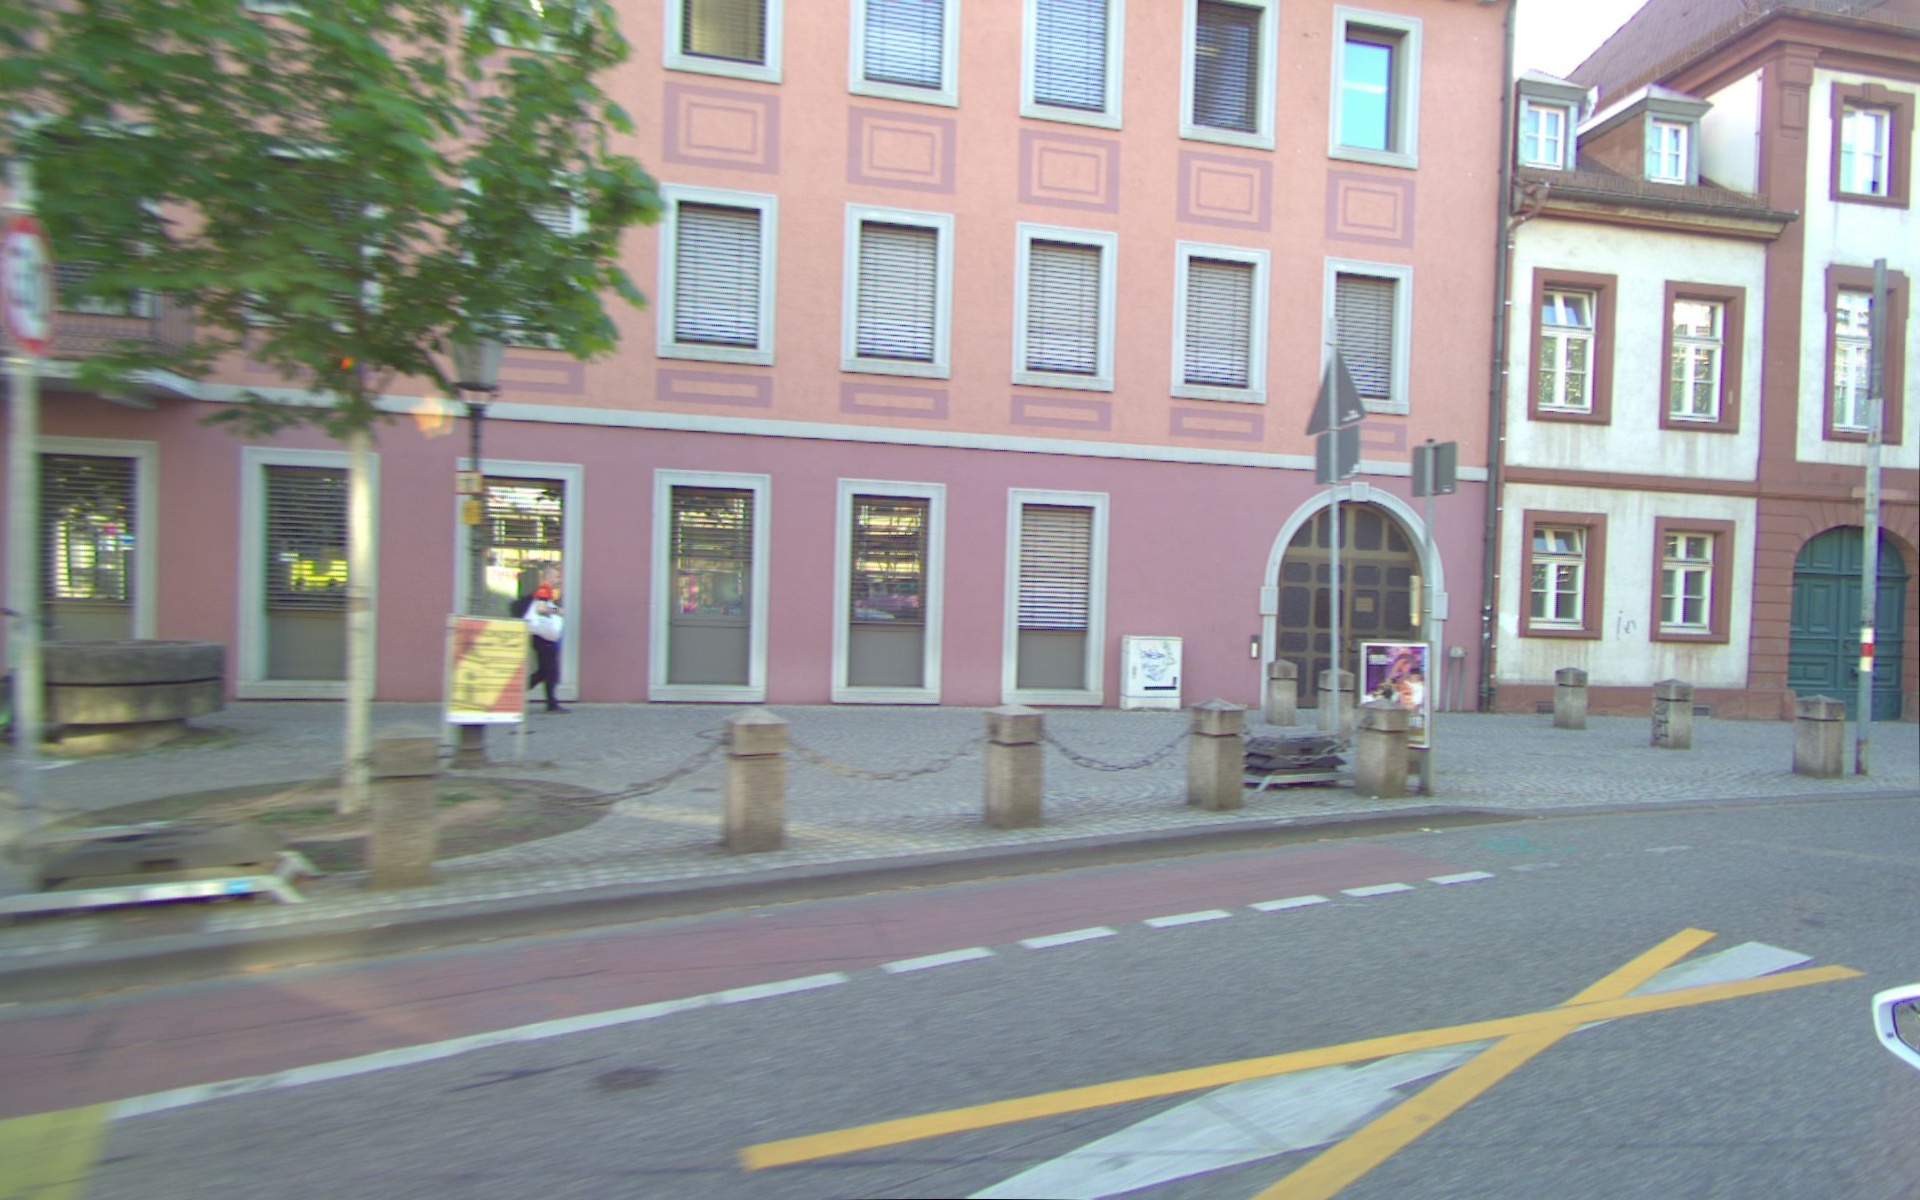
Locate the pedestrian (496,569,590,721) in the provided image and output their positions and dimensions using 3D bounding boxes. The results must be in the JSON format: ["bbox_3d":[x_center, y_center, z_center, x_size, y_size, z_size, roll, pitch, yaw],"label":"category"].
[{"bbox_3d":[-4.877,0.505,11.799,0.854,1.711,0.791,2,2,-14],"label":"pedestrian"}]
